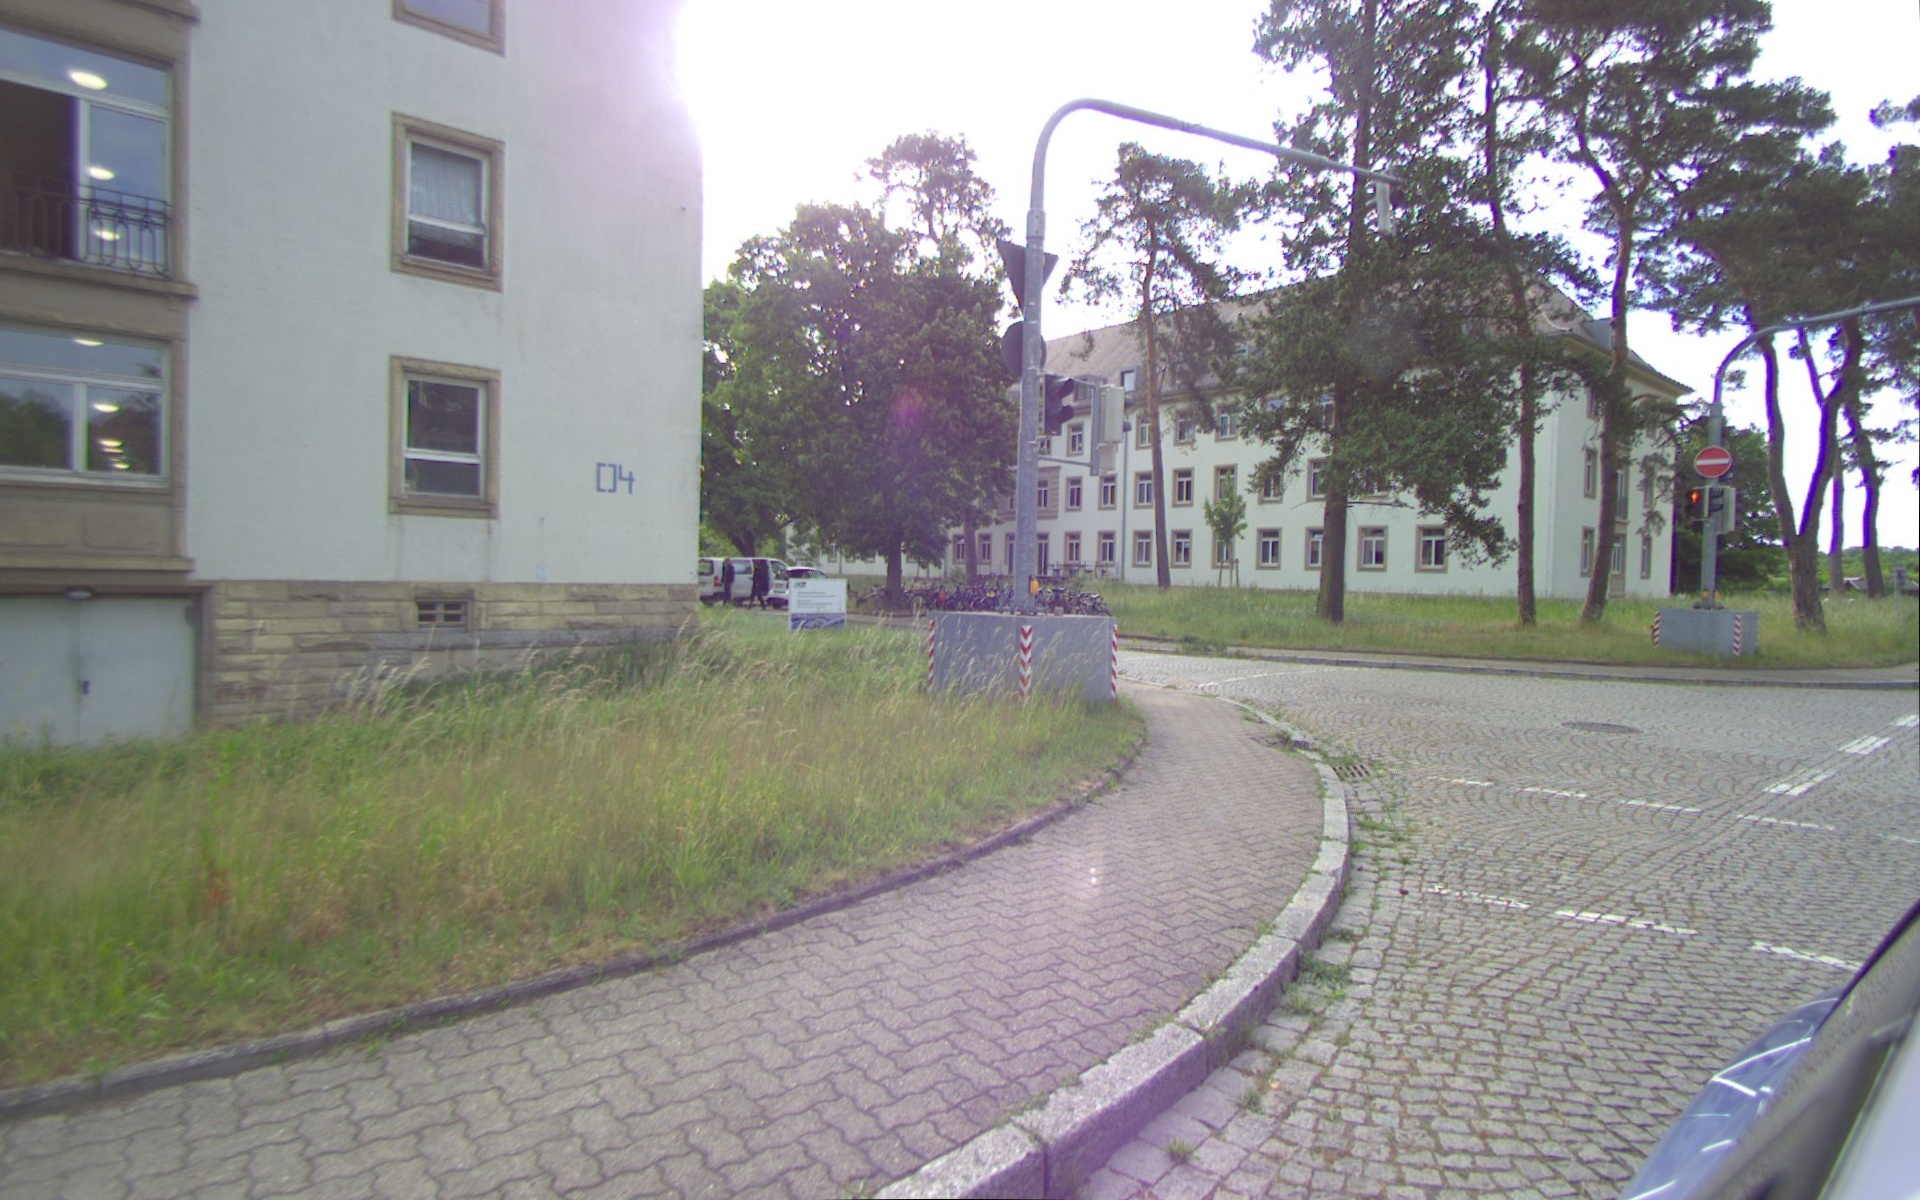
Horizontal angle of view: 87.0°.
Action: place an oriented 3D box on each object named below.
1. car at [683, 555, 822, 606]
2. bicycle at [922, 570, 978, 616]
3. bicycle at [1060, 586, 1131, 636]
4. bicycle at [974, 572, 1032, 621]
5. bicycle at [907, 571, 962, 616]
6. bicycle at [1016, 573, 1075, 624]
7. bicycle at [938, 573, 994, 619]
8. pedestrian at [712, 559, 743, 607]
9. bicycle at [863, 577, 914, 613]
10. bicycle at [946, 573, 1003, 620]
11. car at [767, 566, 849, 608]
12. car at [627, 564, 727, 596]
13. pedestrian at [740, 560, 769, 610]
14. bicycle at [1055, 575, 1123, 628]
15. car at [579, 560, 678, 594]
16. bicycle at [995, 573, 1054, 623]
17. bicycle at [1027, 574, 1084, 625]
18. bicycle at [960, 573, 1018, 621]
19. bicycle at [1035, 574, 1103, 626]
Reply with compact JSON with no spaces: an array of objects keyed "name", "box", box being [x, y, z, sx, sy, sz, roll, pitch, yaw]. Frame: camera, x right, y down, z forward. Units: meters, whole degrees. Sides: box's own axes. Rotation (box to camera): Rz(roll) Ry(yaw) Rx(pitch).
[{"name":"car","box":[-8.118,-0.777,39.837,5.027,1.908,1.998,0,2,-40]},{"name":"bicycle","box":[-0.289,-0.214,30.945,0.571,1.348,1.808,2,2,45]},{"name":"bicycle","box":[3.233,0.253,24.279,0.562,1.098,1.838,-2,3,-36]},{"name":"bicycle","box":[1.234,-0.102,28.971,0.571,1.348,1.808,2,2,45]},{"name":"bicycle","box":[-0.793,-0.214,31.449,0.571,1.348,1.808,2,2,45]},{"name":"bicycle","box":[2.350,-0.045,27.797,0.571,1.348,1.808,2,2,45]},{"name":"bicycle","box":[0.199,-0.122,30.582,0.571,1.348,1.808,2,2,45]},{"name":"pedestrian","box":[-8.556,-0.633,37.230,0.863,1.759,0.799,0,1,-36]},{"name":"bicycle","box":[-2.407,-0.175,34.194,0.571,1.201,1.809,2,2,43]},{"name":"bicycle","box":[0.435,-0.114,29.982,0.571,1.348,1.808,2,2,45]},{"name":"car","box":[-5.699,-0.496,37.944,2.645,1.527,1.475,0,2,-40]},{"name":"car","box":[-13.150,-0.930,47.210,4.179,1.432,1.691,0,2,-43]},{"name":"pedestrian","box":[-7.450,-0.553,36.644,0.867,1.759,0.822,1,1,0]},{"name":"bicycle","box":[3.406,0.031,26.653,1.802,1.348,0.573,0,1,-32]},{"name":"car","box":[-16.767,-1.156,51.304,4.391,1.611,1.775,0,2,-43]},{"name":"bicycle","box":[1.817,-0.071,28.347,0.571,1.348,1.808,2,2,45]},{"name":"bicycle","box":[2.615,-0.021,27.455,0.481,1.348,1.808,2,2,45]},{"name":"bicycle","box":[0.855,-0.107,29.391,0.571,1.348,1.808,2,2,45]},{"name":"bicycle","box":[2.922,0.004,27.063,1.802,1.348,0.573,0,1,-32]}]
